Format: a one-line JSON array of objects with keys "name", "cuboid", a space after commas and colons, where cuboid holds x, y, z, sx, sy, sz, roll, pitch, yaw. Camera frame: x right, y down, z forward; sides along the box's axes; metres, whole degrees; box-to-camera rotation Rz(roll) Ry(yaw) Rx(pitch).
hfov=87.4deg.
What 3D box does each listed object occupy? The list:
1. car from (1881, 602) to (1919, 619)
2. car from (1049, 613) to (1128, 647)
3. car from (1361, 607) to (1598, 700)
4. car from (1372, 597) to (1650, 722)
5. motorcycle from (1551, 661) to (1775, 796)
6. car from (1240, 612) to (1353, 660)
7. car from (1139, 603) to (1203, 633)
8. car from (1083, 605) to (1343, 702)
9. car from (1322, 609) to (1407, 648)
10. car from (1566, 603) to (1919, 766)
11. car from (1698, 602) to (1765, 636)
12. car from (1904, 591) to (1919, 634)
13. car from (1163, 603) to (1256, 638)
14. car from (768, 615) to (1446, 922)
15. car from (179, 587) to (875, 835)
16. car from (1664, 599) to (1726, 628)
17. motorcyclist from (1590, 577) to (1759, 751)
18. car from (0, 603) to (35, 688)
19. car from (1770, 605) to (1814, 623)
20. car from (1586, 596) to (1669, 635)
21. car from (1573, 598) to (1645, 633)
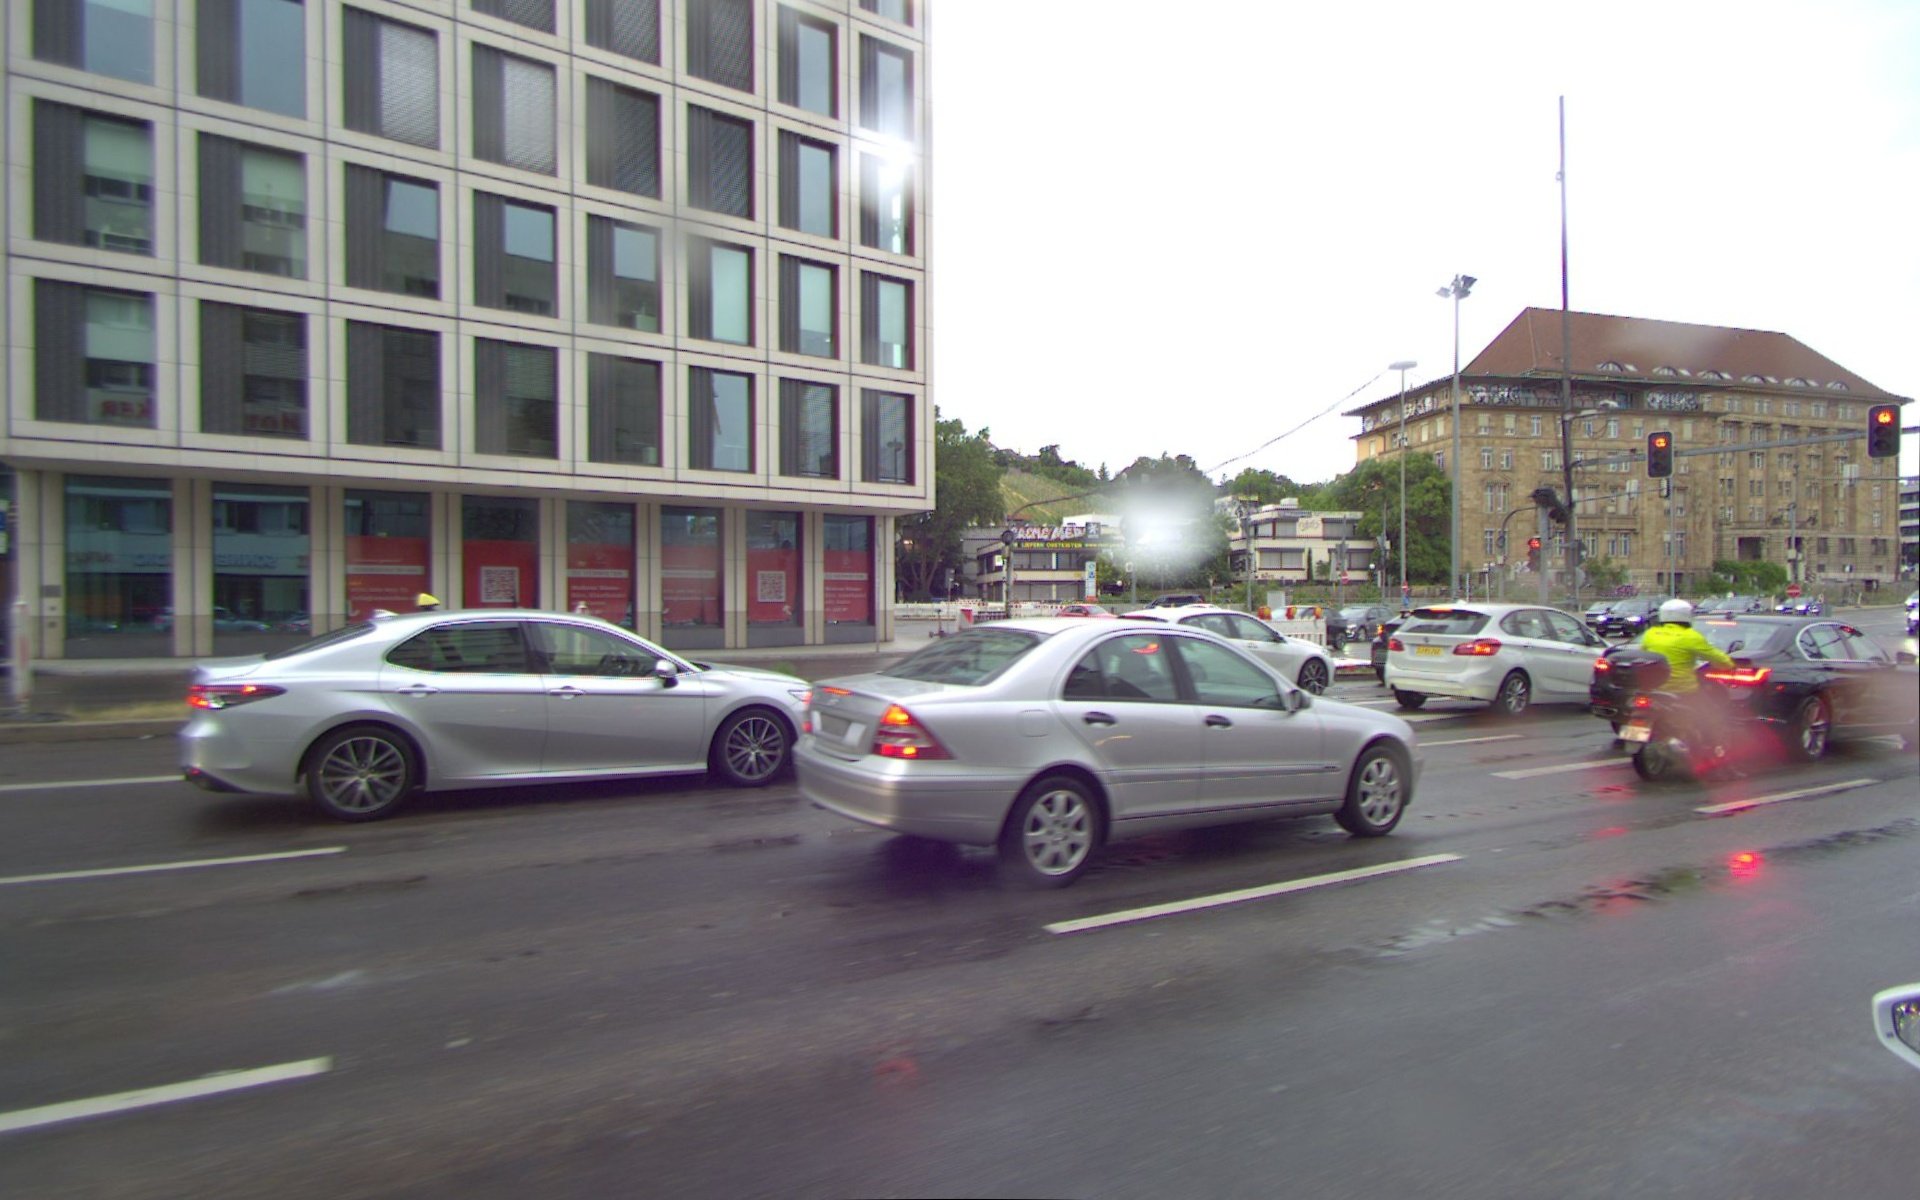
[{"name": "car", "cuboid": [74.228, 0.846, 78.994, 4.152, 1.277, 1.756, 2, 0, -35]}, {"name": "car", "cuboid": [6.549, 1.517, 51.570, 1.662, 1.617, 3.953, 1, 0, -40]}, {"name": "car", "cuboid": [9.962, 1.005, 19.306, 4.010, 1.621, 1.781, 2, 0, -19]}, {"name": "car", "cuboid": [8.187, 0.828, 14.888, 3.950, 1.637, 1.726, 2, 0, -28]}, {"name": "motorcycle", "cuboid": [6.515, 1.116, 9.271, 2.270, 1.002, 0.936, 1, 0, -34]}, {"name": "car", "cuboid": [11.428, 1.224, 34.047, 3.836, 1.539, 1.687, 1, -2, -35]}, {"name": "car", "cuboid": [15.612, 1.329, 74.405, 4.158, 2.040, 1.993, 1, 0, 37]}, {"name": "car", "cuboid": [4.136, 0.834, 16.352, 3.944, 1.391, 1.776, 2, 0, -28]}, {"name": "car", "cuboid": [16.796, 1.176, 41.635, 3.656, 1.539, 1.685, 1, -2, -38]}, {"name": "car", "cuboid": [9.418, 0.871, 11.624, 4.940, 1.535, 1.879, 2, 0, -29]}, {"name": "car", "cuboid": [39.083, 0.964, 50.870, 3.963, 1.595, 1.685, 2, 0, -37]}, {"name": "car", "cuboid": [42.481, 0.597, 43.311, 5.061, 1.821, 1.977, 2, 0, -40]}, {"name": "car", "cuboid": [13.201, 1.076, 53.251, 4.328, 1.684, 1.991, 1, 0, 39]}, {"name": "car", "cuboid": [1.099, 0.862, 6.642, 4.333, 1.422, 1.724, 2, 0, -31]}, {"name": "car", "cuboid": [-3.238, 0.736, 8.239, 4.745, 1.541, 1.822, 2, 0, -31]}, {"name": "car", "cuboid": [39.939, 0.756, 54.586, 3.519, 1.539, 1.687, 1, -2, -35]}, {"name": "motorcyclist", "cuboid": [6.634, 0.556, 9.338, 1.089, 1.495, 0.936, 1, 0, -34]}, {"name": "car", "cuboid": [-20.360, 0.843, 18.156, 5.132, 1.590, 1.686, 1, -2, -36]}, {"name": "car", "cuboid": [60.333, 1.013, 72.827, 3.299, 1.277, 1.725, 2, 0, -37]}, {"name": "car", "cuboid": [29.360, 0.685, 44.133, 4.037, 1.595, 1.788, 2, 0, -37]}, {"name": "car", "cuboid": [31.922, 0.773, 49.366, 3.963, 1.595, 1.685, 2, 0, -37]}]
